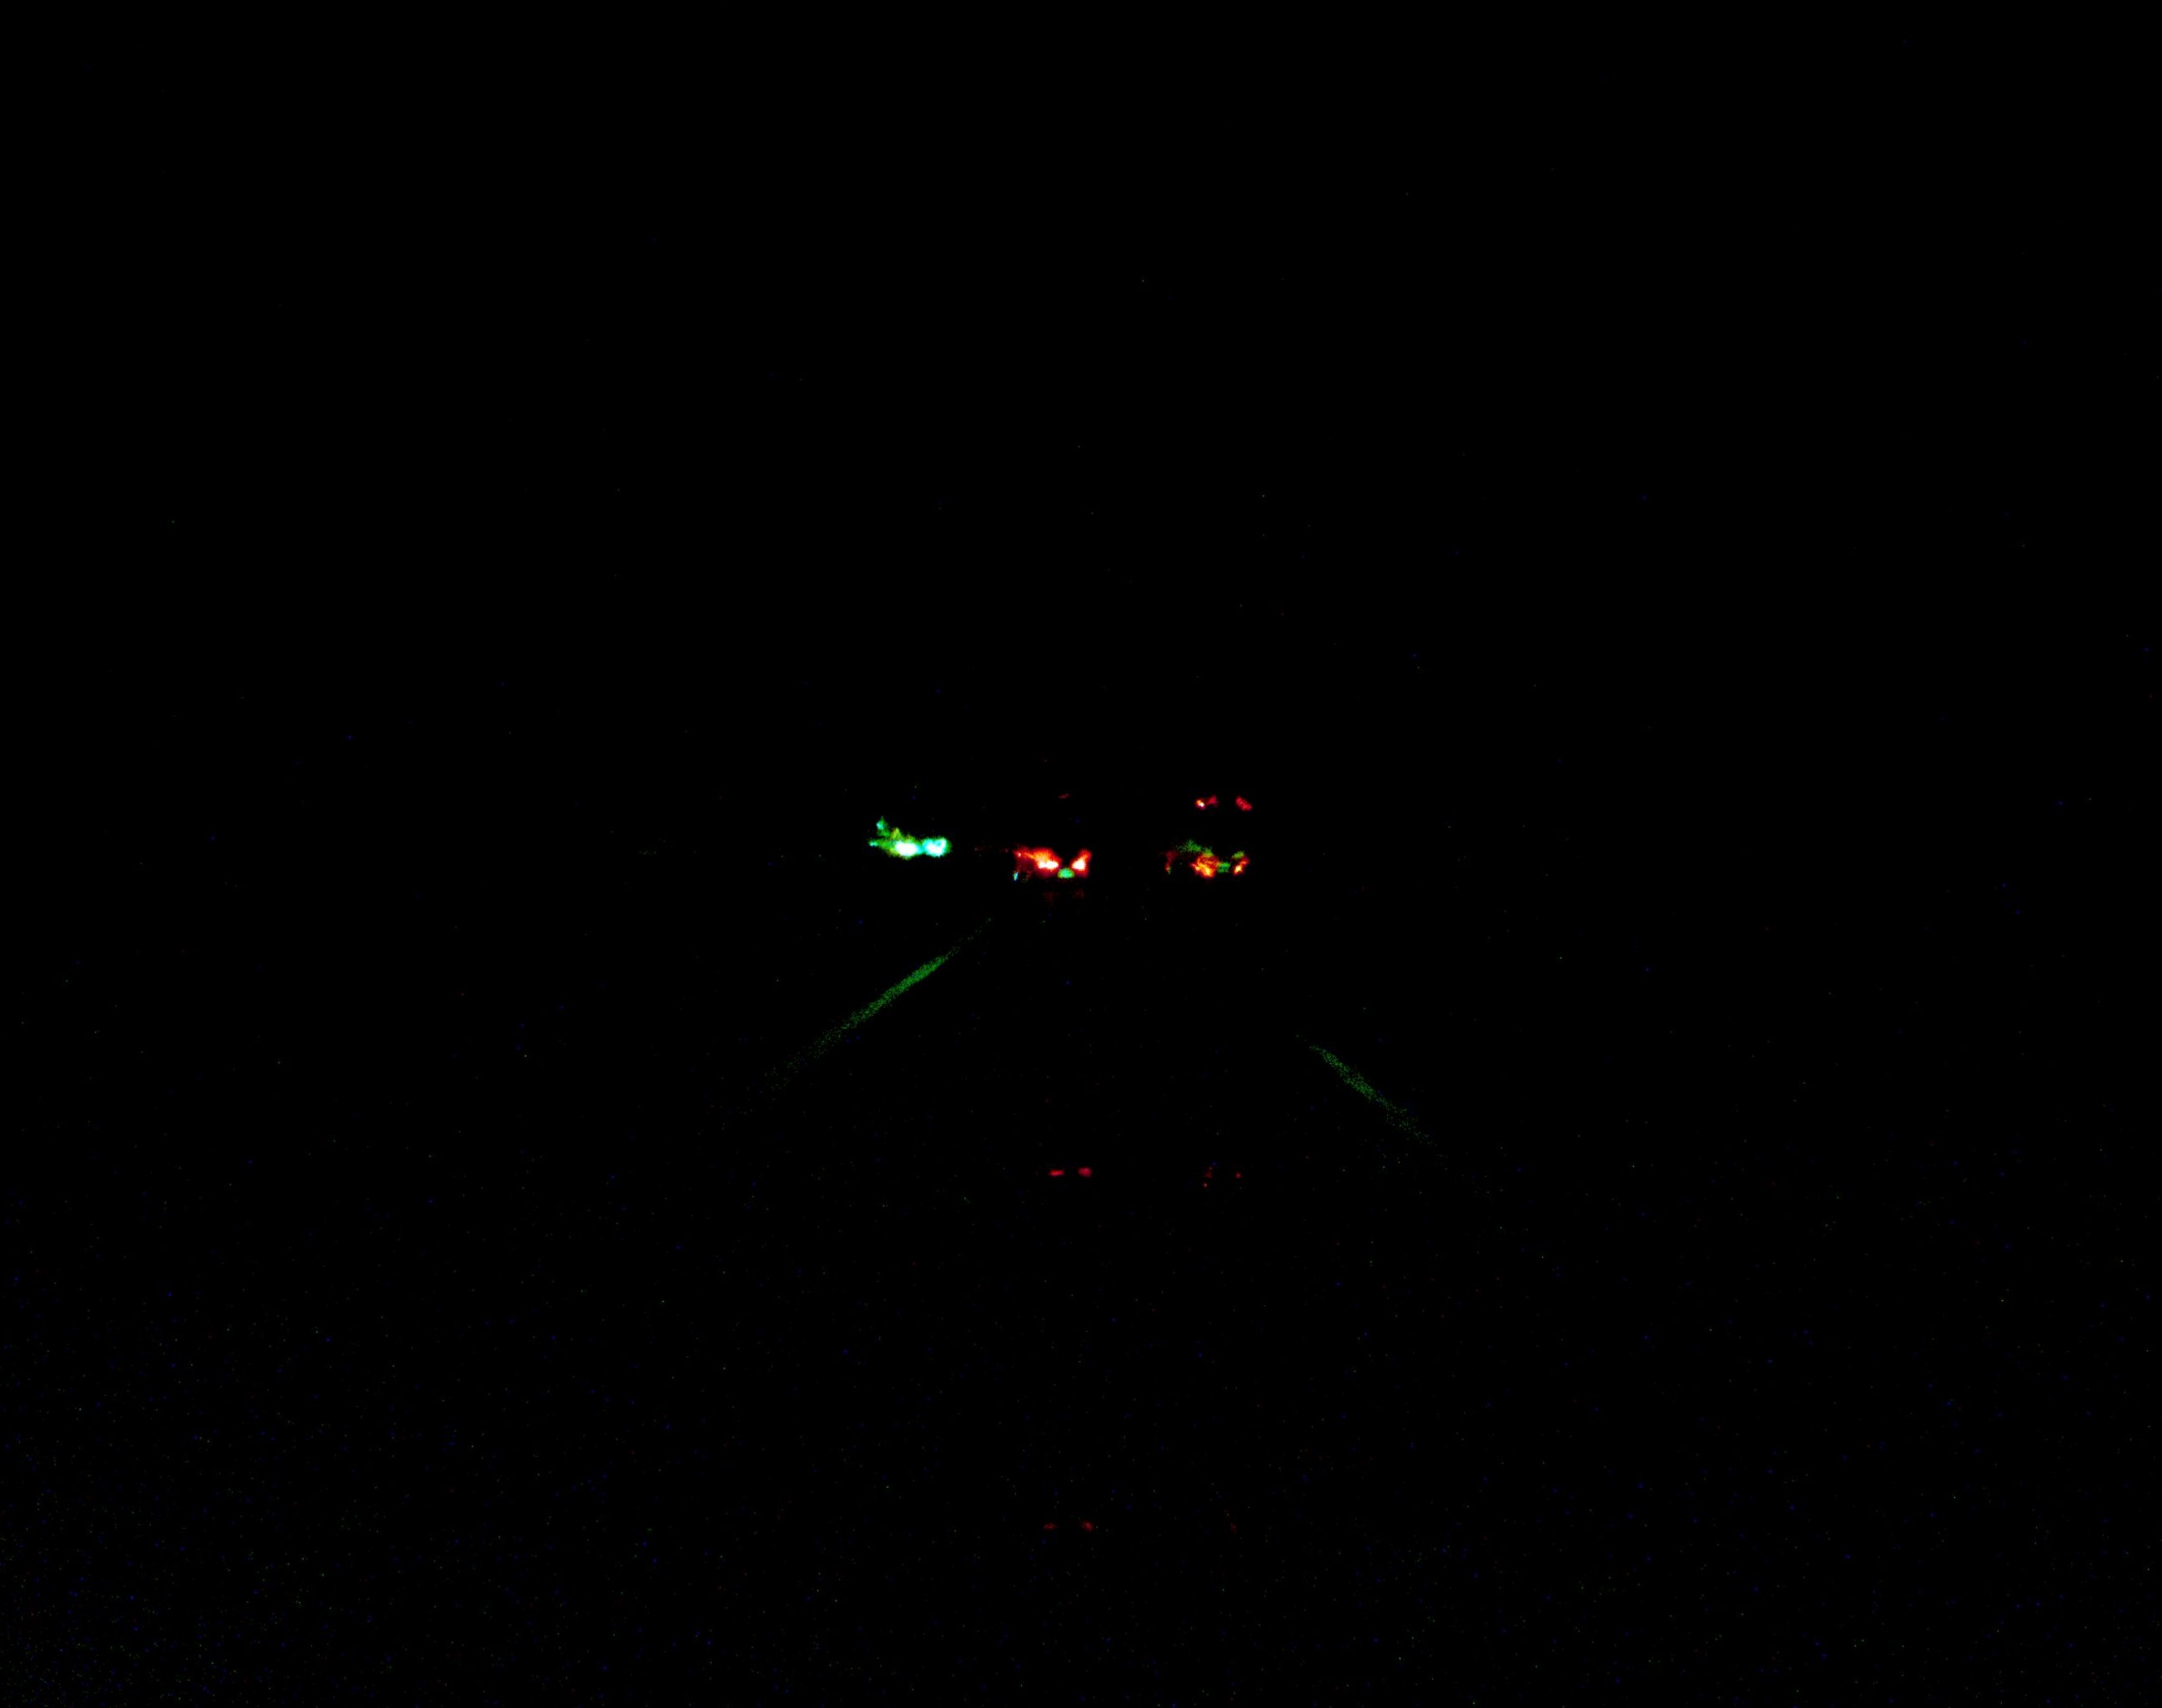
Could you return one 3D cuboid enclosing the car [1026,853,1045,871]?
[{"bbox_3d":[-5.297,0.939,94.294,1.990,2.014,3.993,-1,0,-5],"label":"car"}]

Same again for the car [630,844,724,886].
[{"bbox_3d":[-17.559,0.433,35.634,1.987,1.604,4.001,4,1,1],"label":"car"}]

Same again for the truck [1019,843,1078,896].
[{"bbox_3d":[-1.407,0.622,38.110,2.137,2.077,6.606,4,1,1],"label":"truck"}]

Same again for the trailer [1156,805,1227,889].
[{"bbox_3d":[6.315,-0.416,48.682,2.729,4.248,13.378,-2,0,2],"label":"trailer"}]

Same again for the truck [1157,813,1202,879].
[{"bbox_3d":[6.597,-0.504,55.170,2.699,4.241,5.298,0,0,3],"label":"truck"}]

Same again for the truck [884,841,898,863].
[{"bbox_3d":[-47.328,-0.566,202.627,2.756,5.097,5.854,4,1,-15],"label":"truck"}]

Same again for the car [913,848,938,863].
[{"bbox_3d":[-17.460,0.156,91.582,1.988,1.478,3.998,4,1,-2],"label":"car"}]
